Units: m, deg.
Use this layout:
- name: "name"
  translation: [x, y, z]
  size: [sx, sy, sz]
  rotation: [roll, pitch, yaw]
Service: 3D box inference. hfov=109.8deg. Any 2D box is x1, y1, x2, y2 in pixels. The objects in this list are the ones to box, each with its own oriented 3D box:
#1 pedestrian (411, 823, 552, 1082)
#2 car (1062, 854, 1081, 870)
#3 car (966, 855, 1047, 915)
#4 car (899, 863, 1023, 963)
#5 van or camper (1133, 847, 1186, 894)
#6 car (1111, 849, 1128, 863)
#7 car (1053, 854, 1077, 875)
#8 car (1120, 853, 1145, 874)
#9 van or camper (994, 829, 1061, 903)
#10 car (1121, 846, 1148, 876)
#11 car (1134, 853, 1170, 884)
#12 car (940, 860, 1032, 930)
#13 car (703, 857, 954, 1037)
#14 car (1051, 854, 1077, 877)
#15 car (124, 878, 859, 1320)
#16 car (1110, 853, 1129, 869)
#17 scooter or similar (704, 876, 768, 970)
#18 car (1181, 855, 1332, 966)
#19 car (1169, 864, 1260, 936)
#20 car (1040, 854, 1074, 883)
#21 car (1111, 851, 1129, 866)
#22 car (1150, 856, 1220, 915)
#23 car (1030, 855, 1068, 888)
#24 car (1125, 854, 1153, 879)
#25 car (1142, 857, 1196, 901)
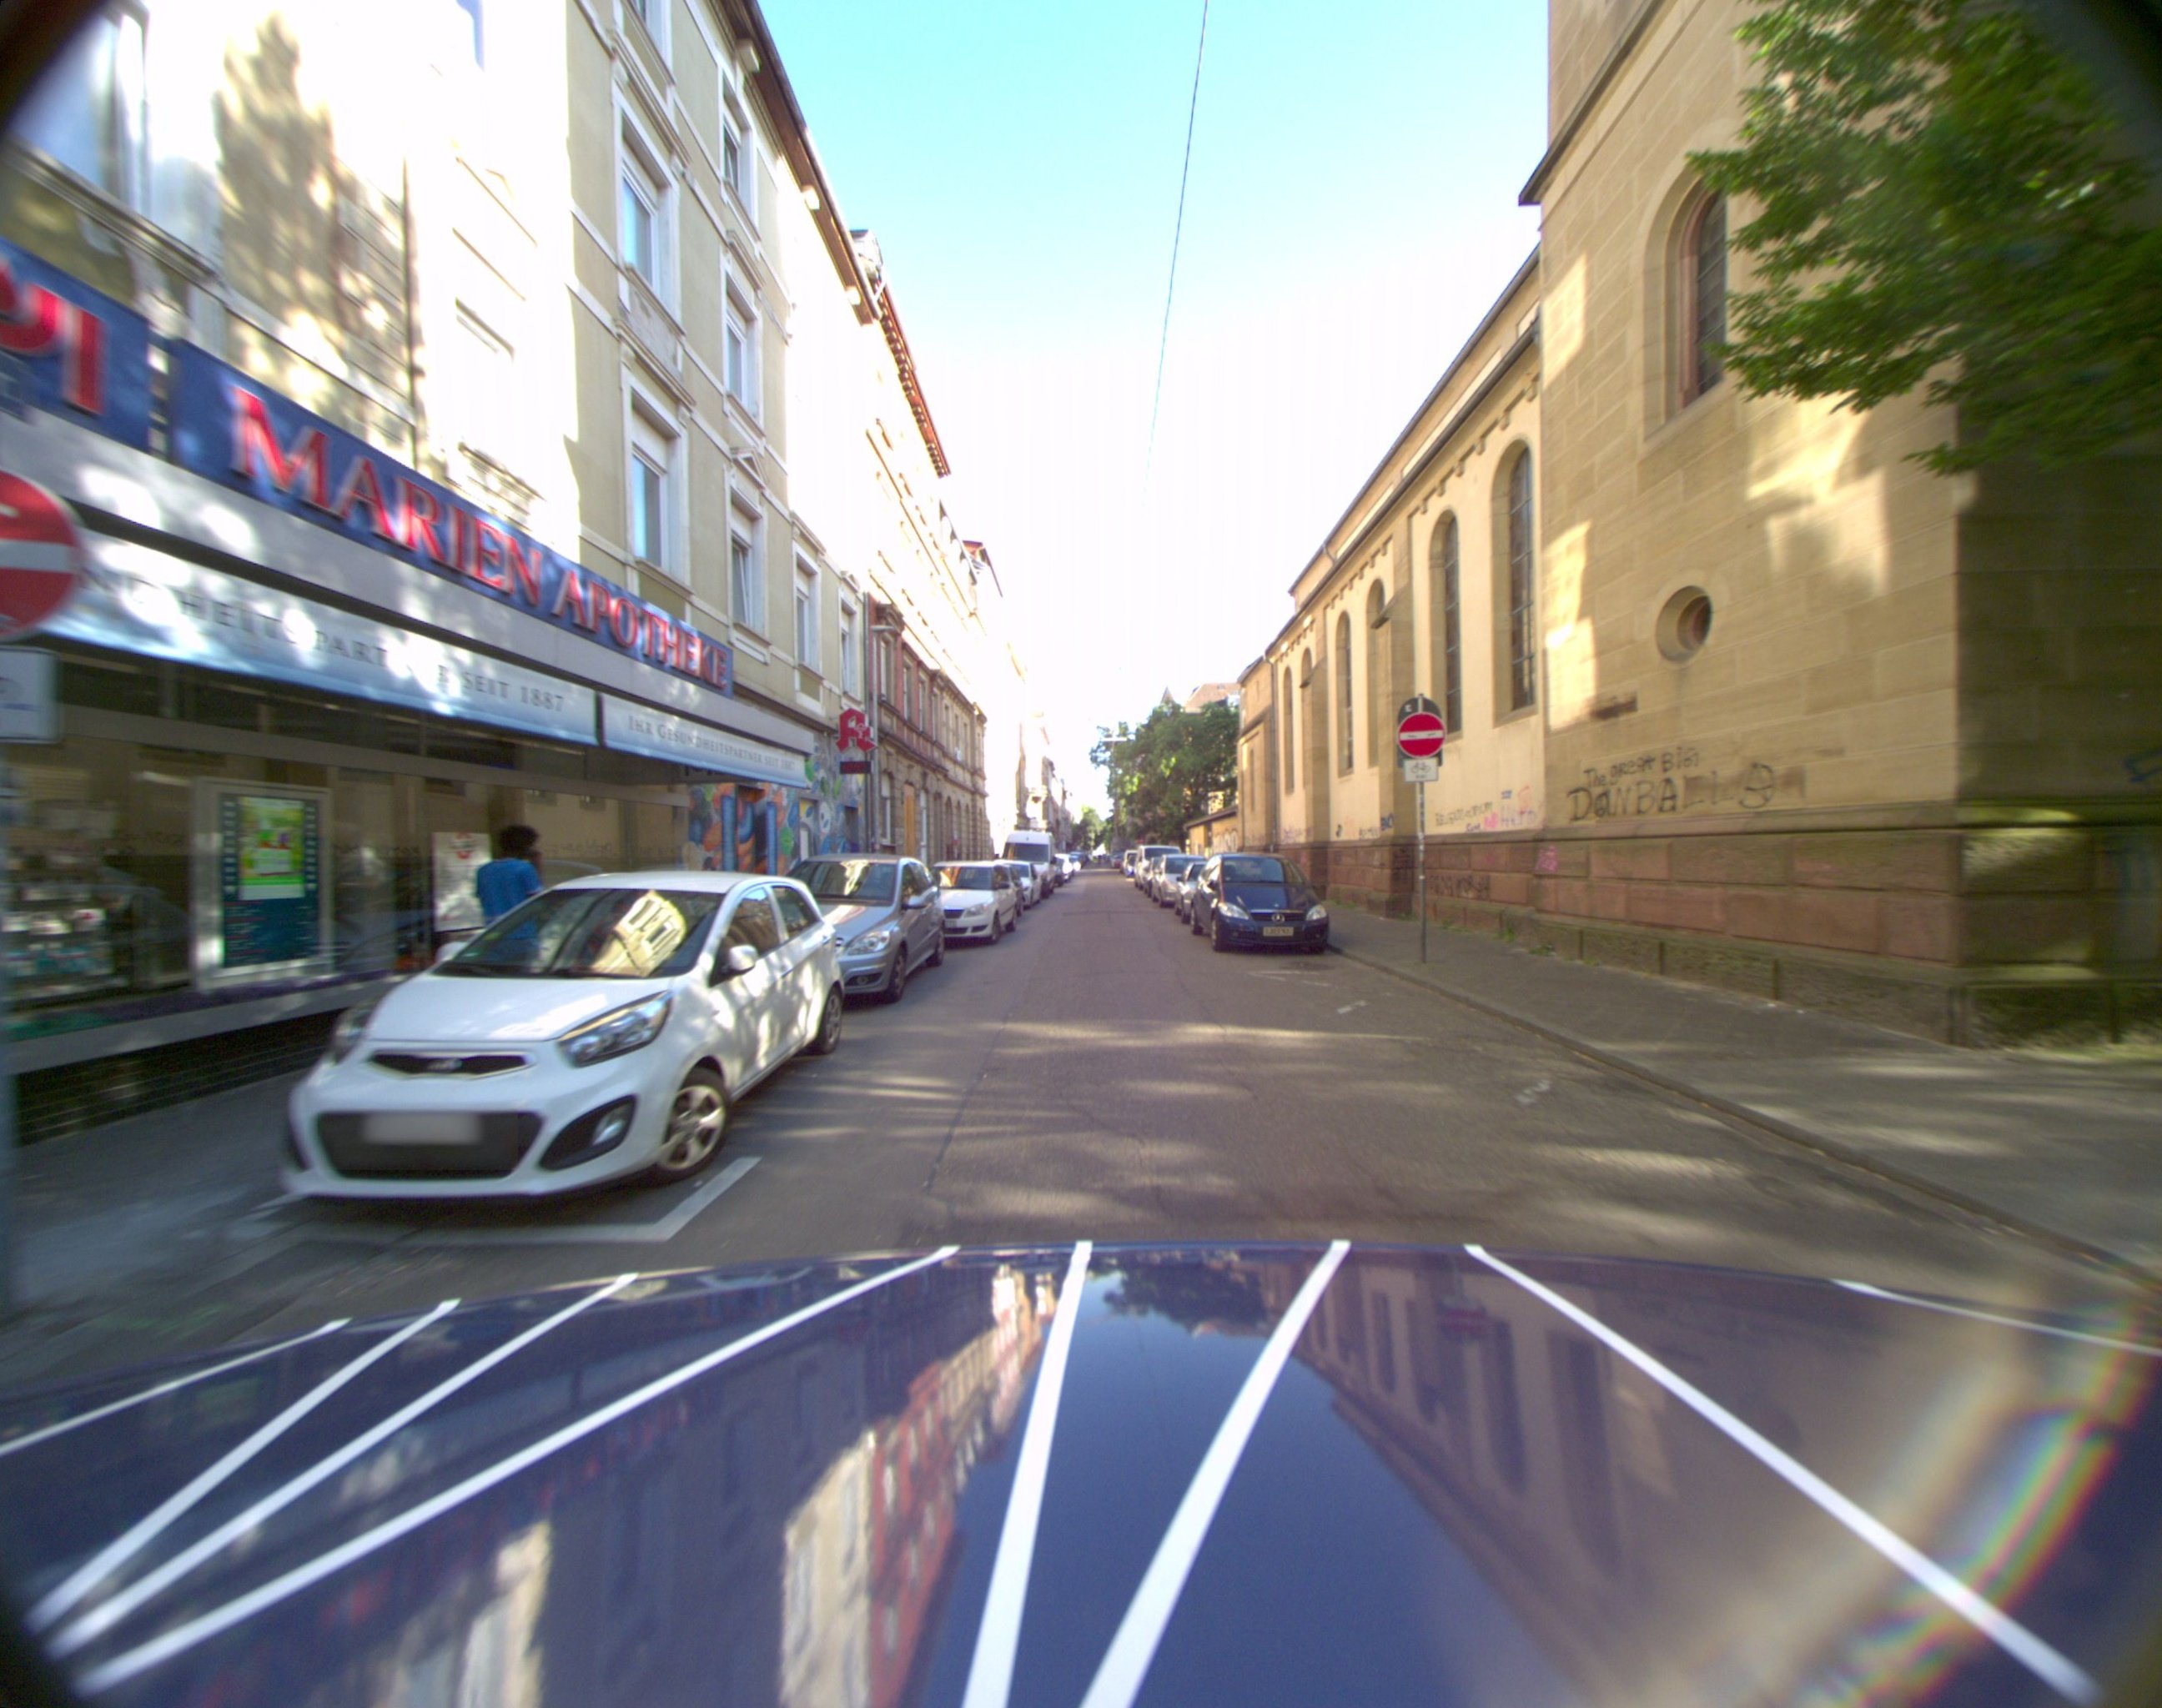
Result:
- name: "pedestrian"
  translation: [-4.573, 0.722, 5.829]
  size: [0.563, 1.883, 0.530]
  rotation: [-2, 1, 1]
- name: "car"
  translation: [-0.943, 0.785, 76.790]
  size: [1.696, 1.615, 3.963]
  rotation: [-1, 0, 2]
- name: "car"
  translation: [-2.320, 0.936, 24.810]
  size: [1.998, 1.637, 4.563]
  rotation: [-2, 1, 2]
- name: "car"
  translation: [-2.158, 1.003, 14.718]
  size: [1.558, 1.518, 4.200]
  rotation: [-2, 1, 2]
- name: "van or camper"
  translation: [3.469, 0.688, 34.350]
  size: [1.984, 1.940, 4.563]
  rotation: [-1, 0, 2]
- name: "car"
  translation: [4.562, 0.270, 90.791]
  size: [1.777, 1.614, 4.022]
  rotation: [-1, 0, 0]
- name: "car"
  translation: [-1.256, 0.821, 60.619]
  size: [1.696, 1.615, 3.963]
  rotation: [-1, 0, 2]
- name: "car"
  translation: [4.152, 0.717, 61.475]
  size: [1.777, 1.614, 4.022]
  rotation: [-1, 0, 0]
- name: "van or camper"
  translation: [-2.030, 0.397, 30.662]
  size: [1.998, 2.617, 5.979]
  rotation: [-2, 1, 2]
- name: "car"
  translation: [3.925, 0.503, 55.997]
  size: [1.777, 2.128, 4.023]
  rotation: [-1, 0, 2]
- name: "car"
  translation: [3.758, 0.737, 40.545]
  size: [1.653, 1.557, 3.640]
  rotation: [-1, 0, 2]
- name: "car"
  translation: [-2.328, 0.966, 19.496]
  size: [1.590, 1.478, 3.913]
  rotation: [-2, 1, 4]
- name: "car"
  translation: [-2.818, 0.925, 9.484]
  size: [1.704, 1.641, 4.063]
  rotation: [-2, 1, 0]
- name: "car"
  translation: [-1.255, 0.844, 56.513]
  size: [1.696, 1.615, 3.963]
  rotation: [-1, 0, 2]
- name: "car"
  translation: [-2.741, 0.979, 4.693]
  size: [1.693, 1.454, 3.639]
  rotation: [-2, 1, -1]
- name: "car"
  translation: [3.983, 0.683, 79.743]
  size: [1.777, 1.614, 4.022]
  rotation: [-1, 0, 0]
- name: "scooter or similar"
  translation: [-5.066, 0.986, 11.210]
  size: [0.396, 1.272, 1.037]
  rotation: [-2, 1, 1]
- name: "car"
  translation: [2.860, 0.842, 13.195]
  size: [1.798, 1.543, 3.834]
  rotation: [-2, 1, 2]
- name: "car"
  translation: [3.051, 0.997, 18.086]
  size: [1.576, 1.356, 4.146]
  rotation: [-2, 1, 3]
- name: "car"
  translation: [-1.385, 0.824, 45.036]
  size: [1.696, 1.615, 3.963]
  rotation: [-1, 0, 2]
- name: "car"
  translation: [4.367, 0.505, 84.631]
  size: [1.777, 1.614, 4.022]
  rotation: [-1, 0, 0]
- name: "car"
  translation: [3.129, 0.894, 23.549]
  size: [1.724, 1.558, 4.000]
  rotation: [-2, 1, 2]
- name: "car"
  translation: [-1.625, 0.860, 39.629]
  size: [1.696, 1.615, 3.813]
  rotation: [-1, 0, 2]
- name: "car"
  translation: [3.814, 0.802, 50.588]
  size: [1.696, 1.529, 3.813]
  rotation: [-1, 0, 2]
- name: "car"
  translation: [3.268, 0.896, 28.845]
  size: [1.696, 1.472, 3.737]
  rotation: [-1, 0, 2]
